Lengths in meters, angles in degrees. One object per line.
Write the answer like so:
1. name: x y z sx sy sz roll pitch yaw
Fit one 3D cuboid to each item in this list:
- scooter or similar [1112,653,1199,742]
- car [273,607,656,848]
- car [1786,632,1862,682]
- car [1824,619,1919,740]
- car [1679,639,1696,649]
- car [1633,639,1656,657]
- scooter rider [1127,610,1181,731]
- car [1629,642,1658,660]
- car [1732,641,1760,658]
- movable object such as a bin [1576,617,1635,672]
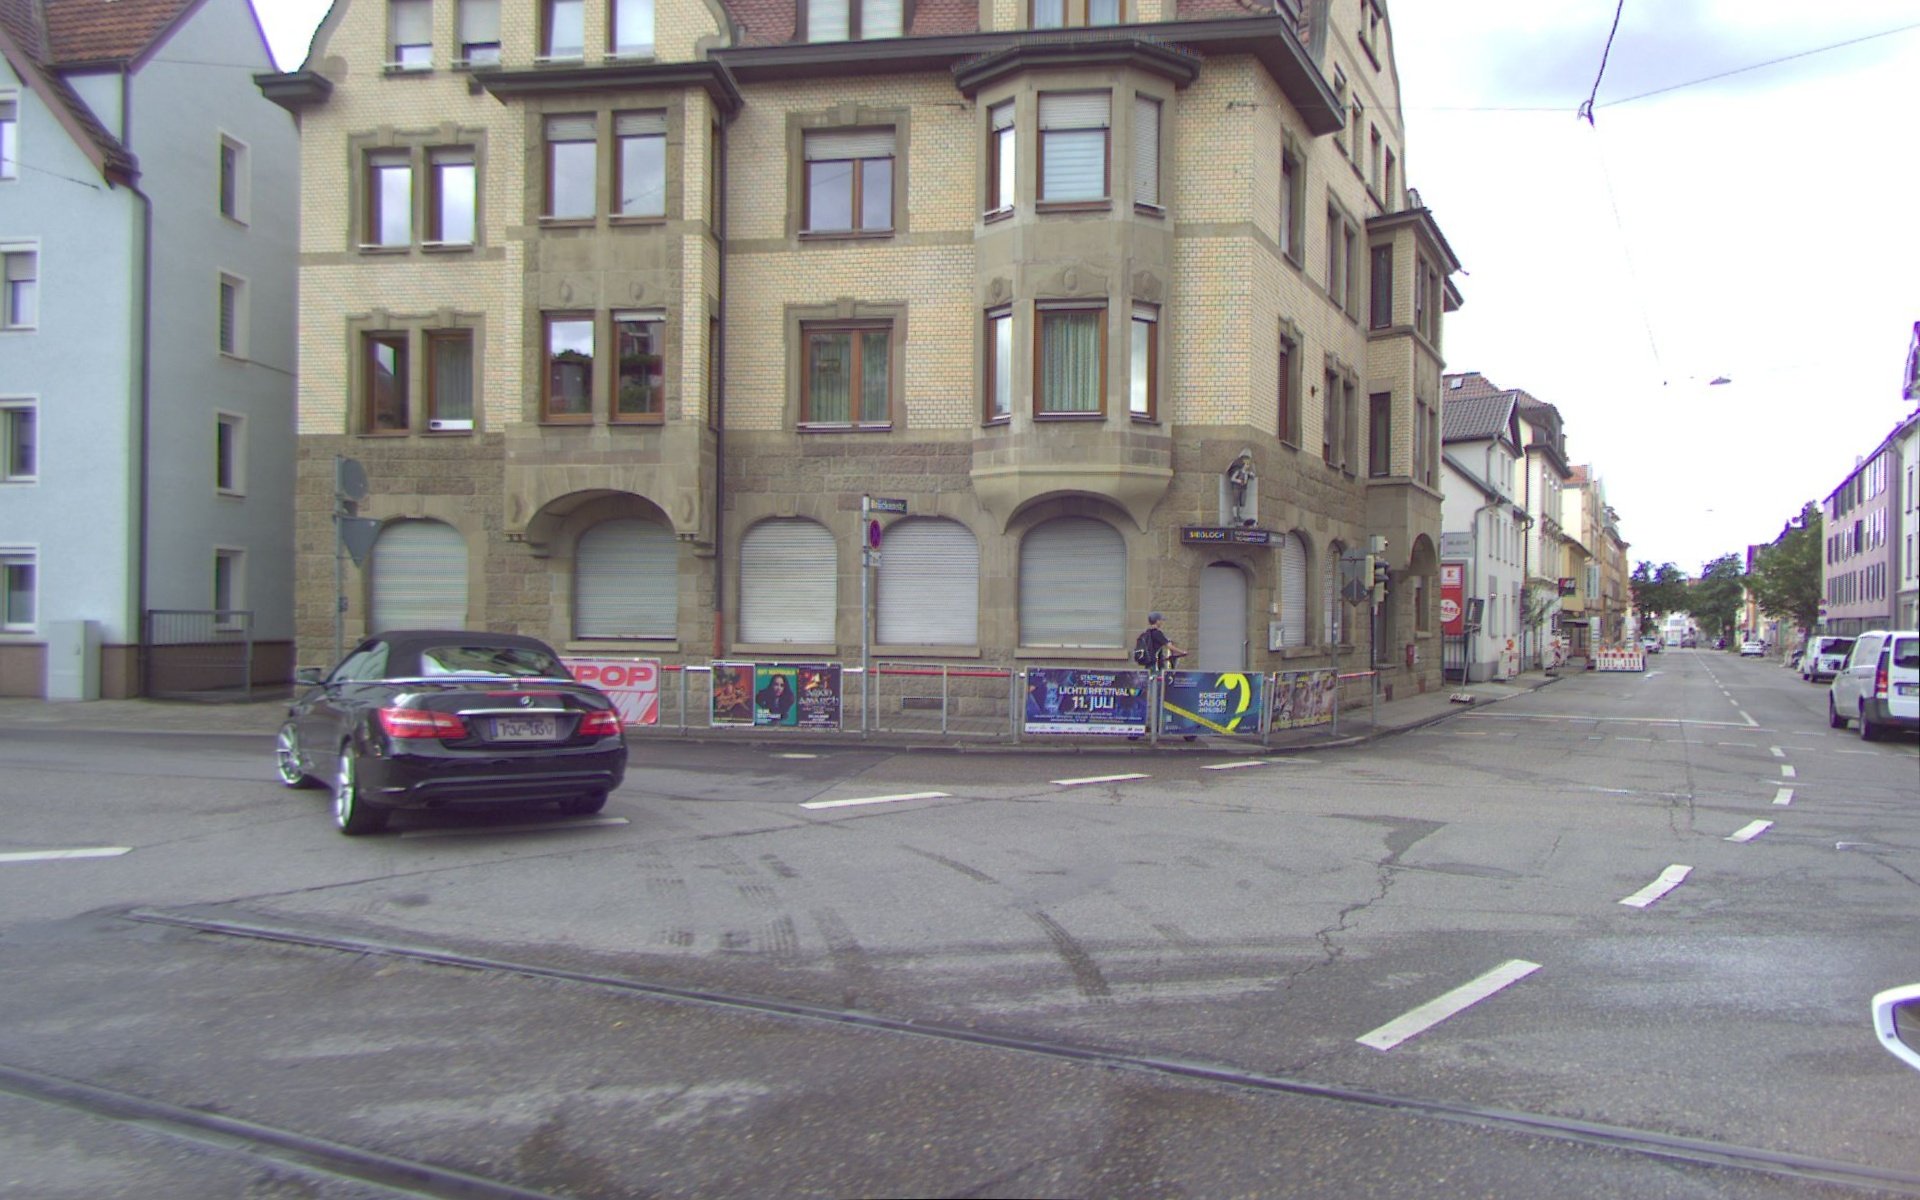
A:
1. scooter or similar: 2.859 1.413 14.685 1.207 1.258 0.378 2 -1 -19
2. car: -4.259 0.848 8.226 1.754 1.427 4.347 4 -4 -40
3. car: 38.658 2.517 45.058 2.100 2.031 4.910 2 -1 35
4. car: 17.028 1.410 17.951 1.866 1.954 4.632 0 -3 34
5. car: 119.155 7.211 164.581 1.970 1.639 3.982 -1 -3 40
6. car: 73.131 5.131 107.347 1.966 1.764 3.988 3 0 34
7. scooter rider: 2.827 1.014 14.677 0.568 1.728 0.487 2 -1 -19
8. car: 59.221 4.378 87.024 1.967 1.461 3.988 -1 -2 35
9. car: 79.956 5.002 102.214 1.967 1.505 3.988 5 1 35
10. movable object such as a bin: 35.081 2.418 54.555 2.504 2.862 4.525 -2 -3 35
